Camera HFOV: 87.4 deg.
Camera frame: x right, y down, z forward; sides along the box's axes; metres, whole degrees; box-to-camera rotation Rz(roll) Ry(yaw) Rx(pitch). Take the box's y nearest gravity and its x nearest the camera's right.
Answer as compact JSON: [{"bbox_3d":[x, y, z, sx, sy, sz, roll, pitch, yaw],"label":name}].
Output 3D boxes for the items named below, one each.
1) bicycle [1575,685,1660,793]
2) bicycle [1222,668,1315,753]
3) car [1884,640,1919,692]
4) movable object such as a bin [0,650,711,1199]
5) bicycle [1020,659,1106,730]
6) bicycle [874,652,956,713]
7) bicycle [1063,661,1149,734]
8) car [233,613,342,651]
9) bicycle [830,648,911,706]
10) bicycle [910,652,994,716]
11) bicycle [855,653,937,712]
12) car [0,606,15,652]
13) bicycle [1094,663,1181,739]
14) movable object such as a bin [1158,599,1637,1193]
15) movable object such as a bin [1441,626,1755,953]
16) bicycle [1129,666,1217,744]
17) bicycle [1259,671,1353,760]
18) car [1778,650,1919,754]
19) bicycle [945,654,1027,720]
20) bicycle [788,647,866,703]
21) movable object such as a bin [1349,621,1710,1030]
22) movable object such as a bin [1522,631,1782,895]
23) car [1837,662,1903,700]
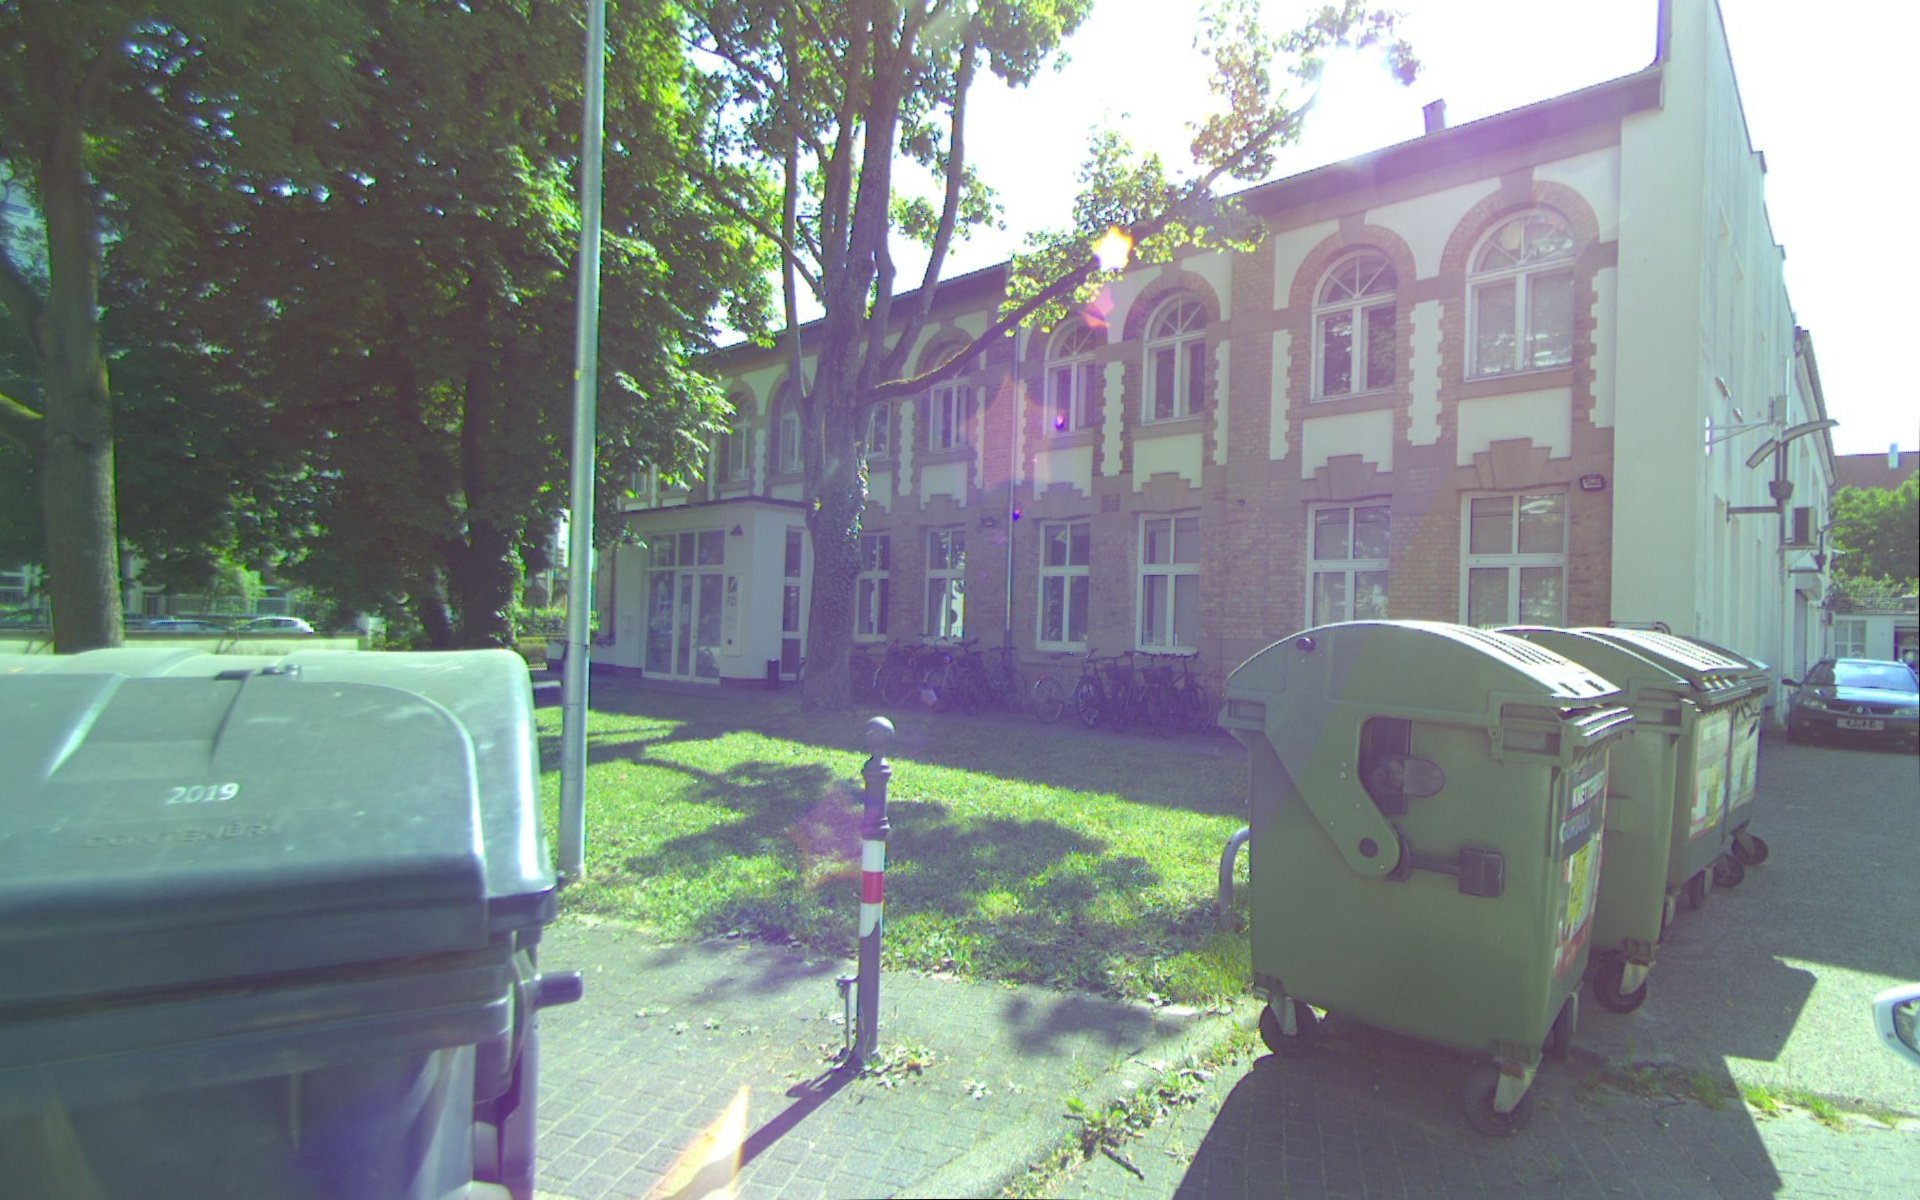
[{"bbox_3d":[6.963,1.431,10.615,0.440,1.005,1.531,-1,-2,45],"label":"bicycle"},{"bbox_3d":[4.040,1.408,13.079,0.440,1.005,1.656,-1,-2,45],"label":"bicycle"},{"bbox_3d":[50.970,3.548,53.808,2.151,2.641,6.698,-1,-4,43],"label":"car"},{"bbox_3d":[-1.138,0.780,1.075,1.387,1.415,1.239,3,-2,-29],"label":"movable object such as a bin"},{"bbox_3d":[1.587,1.411,15.336,0.440,1.005,1.531,-1,-2,45],"label":"bicycle"},{"bbox_3d":[-0.773,1.415,17.574,0.440,1.005,1.531,-1,-2,45],"label":"bicycle"},{"bbox_3d":[2.181,1.421,14.890,0.440,1.005,1.531,-1,-2,45],"label":"bicycle"},{"bbox_3d":[-31.207,1.502,46.775,3.949,1.684,1.817,2,-2,-27],"label":"car"},{"bbox_3d":[-1.615,1.381,18.276,0.440,1.005,1.531,-1,-2,45],"label":"bicycle"},{"bbox_3d":[-0.114,1.385,16.853,0.440,1.005,1.531,-1,-2,45],"label":"bicycle"},{"bbox_3d":[-1.122,1.455,17.898,0.369,1.002,1.590,0,-2,45],"label":"bicycle"},{"bbox_3d":[-34.727,0.946,33.600,4.172,1.559,1.768,2,-2,-31],"label":"car"},{"bbox_3d":[2.578,1.437,14.515,0.440,1.005,1.531,-1,-2,45],"label":"bicycle"},{"bbox_3d":[1.551,0.776,3.465,1.228,1.501,1.334,0,-2,37],"label":"movable object such as a bin"},{"bbox_3d":[3.483,0.892,5.460,1.230,1.450,1.359,0,-2,42],"label":"movable object such as a bin"},{"bbox_3d":[3.009,1.445,14.107,0.440,1.005,1.531,-1,-2,45],"label":"bicycle"},{"bbox_3d":[4.414,1.433,12.753,0.440,1.005,1.675,-1,-2,45],"label":"bicycle"},{"bbox_3d":[15.262,1.716,17.123,1.816,1.460,4.408,2,-3,42],"label":"car"},{"bbox_3d":[0.438,1.402,16.470,0.440,1.005,1.532,-1,-2,43],"label":"bicycle"},{"bbox_3d":[-2.526,1.428,19.207,0.439,1.005,1.534,2,-2,41],"label":"bicycle"},{"bbox_3d":[2.509,0.847,4.483,1.226,1.450,1.221,1,-2,32],"label":"movable object such as a bin"},{"bbox_3d":[4.523,0.951,6.543,1.230,1.450,1.343,0,-2,42],"label":"movable object such as a bin"},{"bbox_3d":[36.508,3.223,40.357,1.831,1.337,3.980,2,-1,42],"label":"car"}]
